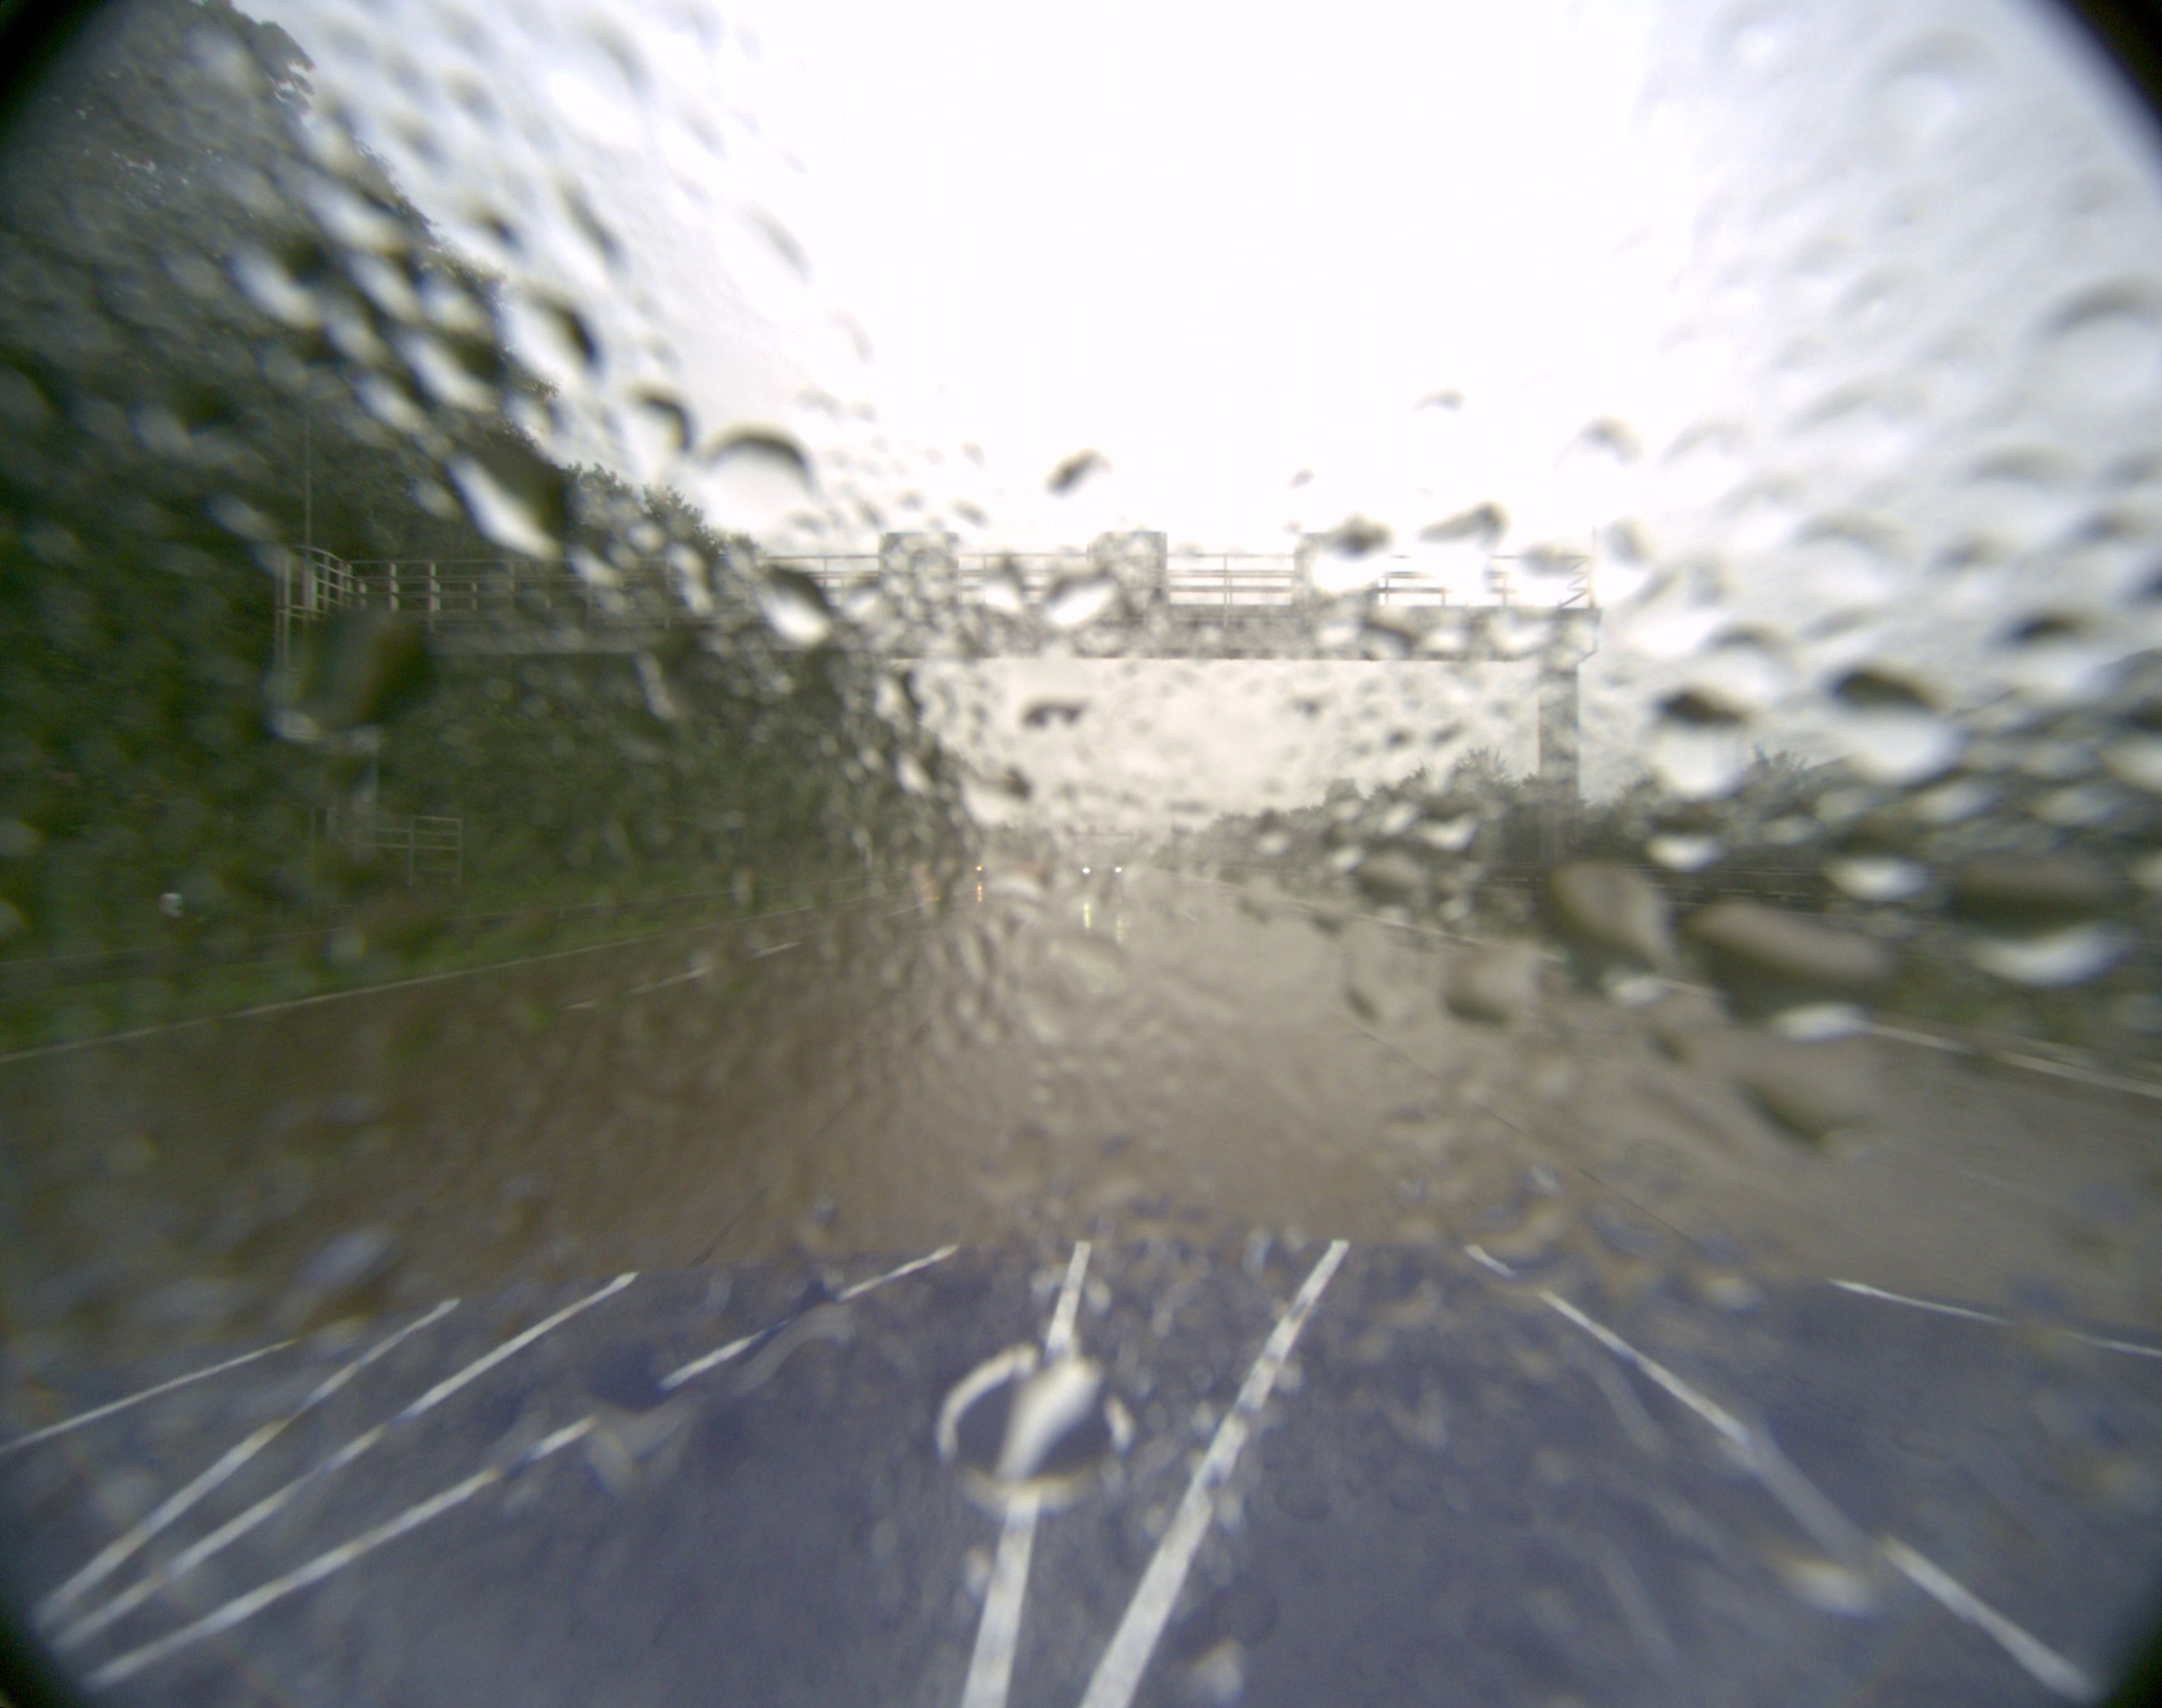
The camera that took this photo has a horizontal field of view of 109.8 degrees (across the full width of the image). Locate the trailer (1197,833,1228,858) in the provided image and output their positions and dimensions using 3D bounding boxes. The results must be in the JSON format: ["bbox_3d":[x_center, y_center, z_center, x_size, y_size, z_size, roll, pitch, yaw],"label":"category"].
[{"bbox_3d":[23.397,-1.430,135.856,3.363,4.149,11.400,-1,0,0],"label":"trailer"}]

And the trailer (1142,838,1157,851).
[{"bbox_3d":[20.367,-2.863,227.210,2.859,3.522,13.704,-2,1,-1],"label":"trailer"}]

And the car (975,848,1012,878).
[{"bbox_3d":[-6.207,0.599,54.220,1.859,2.002,4.001,-1,0,3],"label":"car"}]

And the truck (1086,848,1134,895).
[{"bbox_3d":[1.279,0.731,36.233,1.998,2.002,7.575,0,0,0],"label":"truck"}]
